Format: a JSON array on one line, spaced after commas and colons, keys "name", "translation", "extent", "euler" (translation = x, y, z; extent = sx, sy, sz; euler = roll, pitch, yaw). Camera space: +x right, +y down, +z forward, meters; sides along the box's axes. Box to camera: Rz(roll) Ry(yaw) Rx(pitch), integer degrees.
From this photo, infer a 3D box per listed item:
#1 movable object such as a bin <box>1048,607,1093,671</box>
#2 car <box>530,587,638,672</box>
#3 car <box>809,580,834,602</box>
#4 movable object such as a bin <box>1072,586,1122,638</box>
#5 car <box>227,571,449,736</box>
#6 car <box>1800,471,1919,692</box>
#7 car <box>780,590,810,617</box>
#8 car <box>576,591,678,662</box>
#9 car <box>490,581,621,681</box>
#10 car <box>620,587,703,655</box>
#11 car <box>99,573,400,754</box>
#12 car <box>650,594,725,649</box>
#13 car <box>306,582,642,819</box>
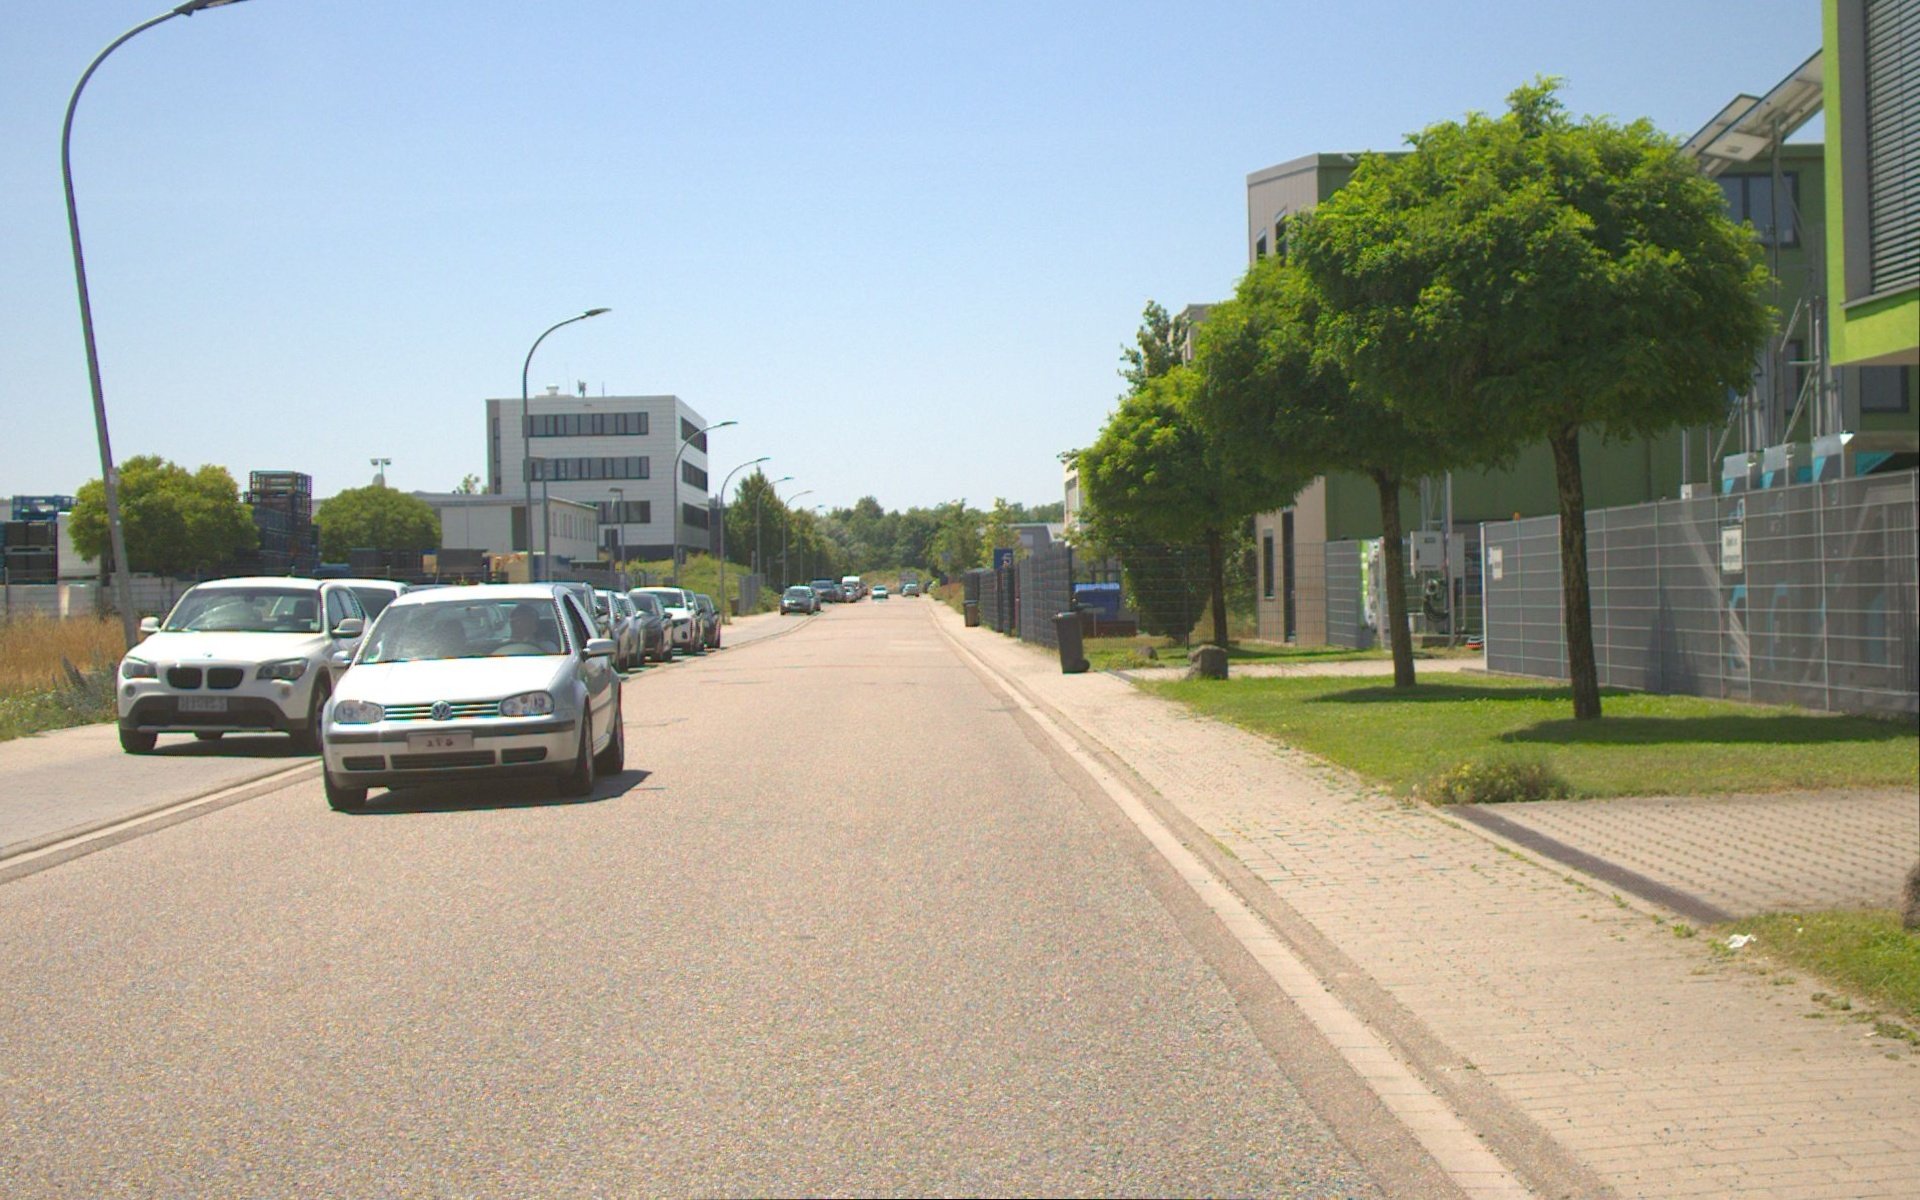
[{"name": "movable object such as a bin", "translation": [1.690, 0.598, 52.460], "extent": [0.552, 0.925, 0.521], "euler": [-5, -1, 9]}, {"name": "car", "translation": [-6.937, 0.527, 63.624], "extent": [1.693, 1.520, 3.735], "euler": [0, 0, -2]}, {"name": "car", "translation": [-9.811, -0.636, 243.673], "extent": [1.644, 1.484, 3.207], "euler": [-1, 0, 0]}, {"name": "movable object such as a bin", "translation": [3.942, 0.337, 98.925], "extent": [1.334, 1.454, 0.949], "euler": [-1, 0, -1]}, {"name": "car", "translation": [-6.545, 0.531, 36.511], "extent": [1.787, 1.651, 3.769], "euler": [0, 0, -2]}, {"name": "car", "translation": [11.799, -0.263, 39.971], "extent": [2.129, 2.486, 7.025], "euler": [-3, 0, -1]}, {"name": "car", "translation": [-9.053, 0.187, 188.693], "extent": [1.466, 1.484, 3.207], "euler": [-1, 0, 0]}, {"name": "car", "translation": [-7.135, 0.555, 74.032], "extent": [1.857, 1.476, 4.229], "euler": [0, 0, -1]}, {"name": "car", "translation": [-6.732, 0.493, 57.571], "extent": [1.790, 1.601, 4.463], "euler": [0, 0, -2]}, {"name": "car", "translation": [-7.169, 0.503, 82.963], "extent": [1.769, 1.587, 4.360], "euler": [0, 0, -2]}, {"name": "car", "translation": [-6.434, 0.533, 31.591], "extent": [1.787, 1.537, 4.364], "euler": [0, 0, 1]}, {"name": "car", "translation": [-7.426, 0.583, 93.905], "extent": [1.769, 1.456, 4.333], "euler": [0, 0, -1]}, {"name": "car", "translation": [-3.306, 0.624, 24.240], "extent": [1.704, 1.406, 4.784], "euler": [-3, 0, -1]}]
